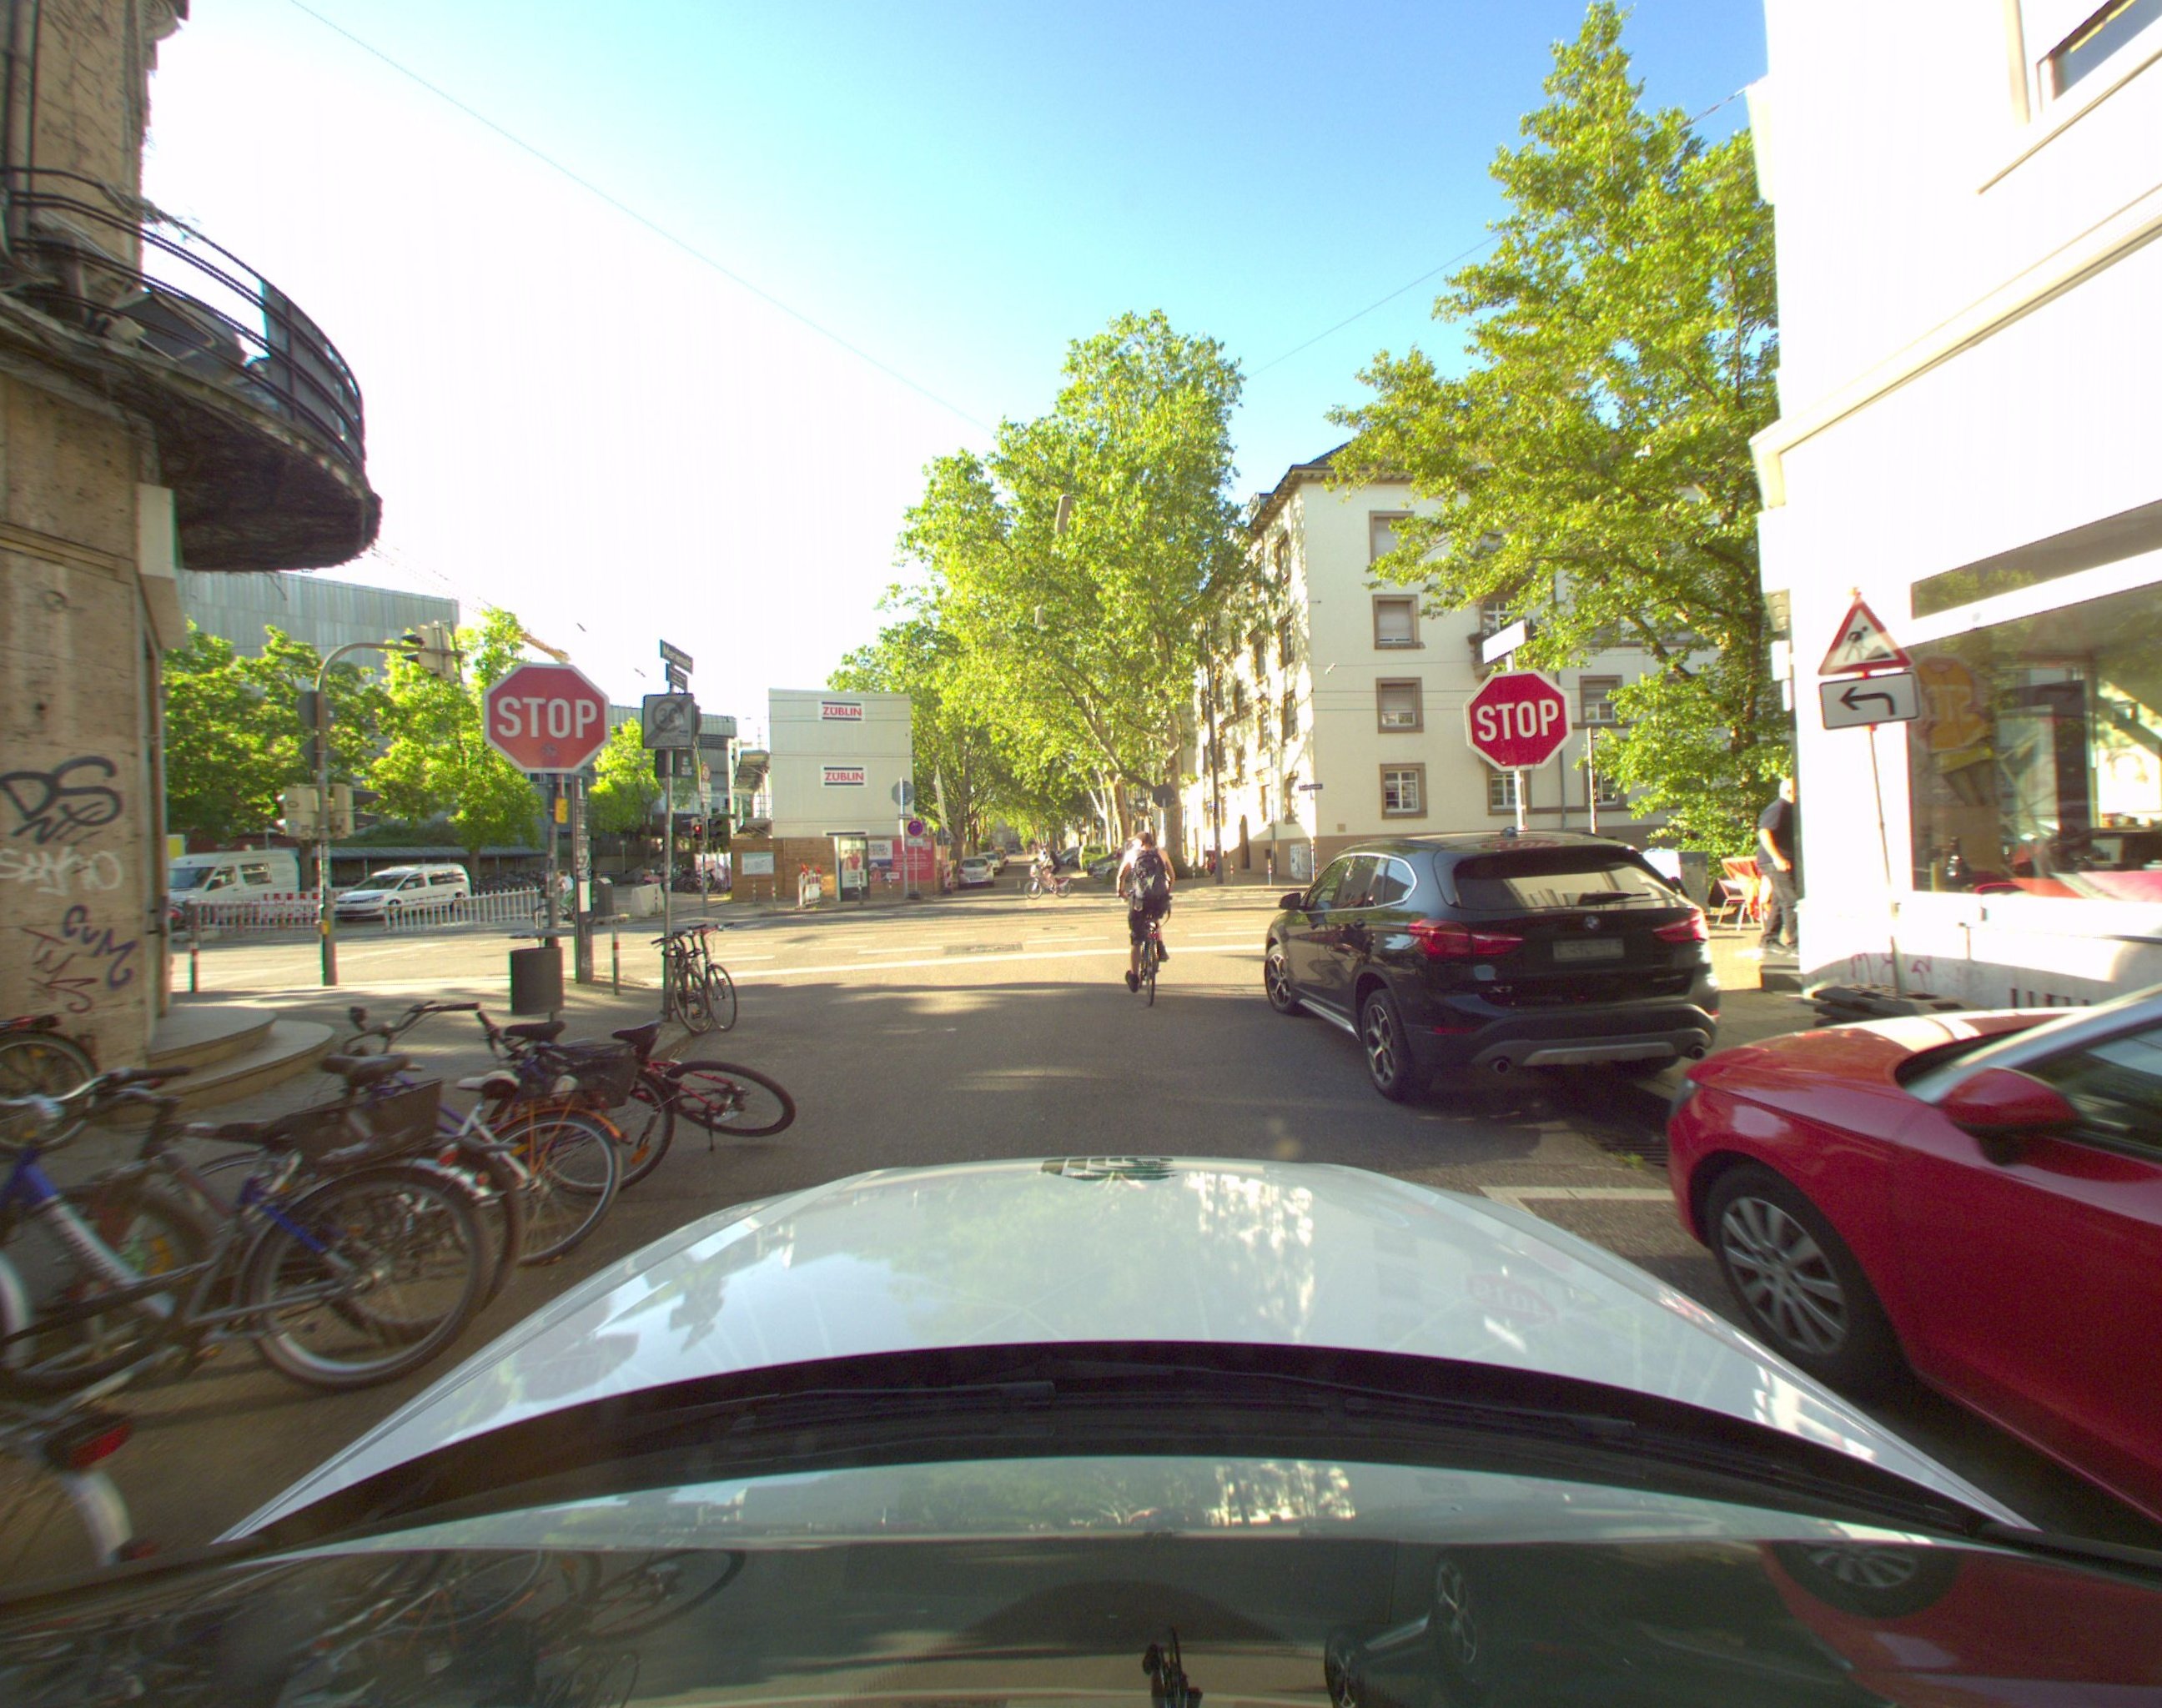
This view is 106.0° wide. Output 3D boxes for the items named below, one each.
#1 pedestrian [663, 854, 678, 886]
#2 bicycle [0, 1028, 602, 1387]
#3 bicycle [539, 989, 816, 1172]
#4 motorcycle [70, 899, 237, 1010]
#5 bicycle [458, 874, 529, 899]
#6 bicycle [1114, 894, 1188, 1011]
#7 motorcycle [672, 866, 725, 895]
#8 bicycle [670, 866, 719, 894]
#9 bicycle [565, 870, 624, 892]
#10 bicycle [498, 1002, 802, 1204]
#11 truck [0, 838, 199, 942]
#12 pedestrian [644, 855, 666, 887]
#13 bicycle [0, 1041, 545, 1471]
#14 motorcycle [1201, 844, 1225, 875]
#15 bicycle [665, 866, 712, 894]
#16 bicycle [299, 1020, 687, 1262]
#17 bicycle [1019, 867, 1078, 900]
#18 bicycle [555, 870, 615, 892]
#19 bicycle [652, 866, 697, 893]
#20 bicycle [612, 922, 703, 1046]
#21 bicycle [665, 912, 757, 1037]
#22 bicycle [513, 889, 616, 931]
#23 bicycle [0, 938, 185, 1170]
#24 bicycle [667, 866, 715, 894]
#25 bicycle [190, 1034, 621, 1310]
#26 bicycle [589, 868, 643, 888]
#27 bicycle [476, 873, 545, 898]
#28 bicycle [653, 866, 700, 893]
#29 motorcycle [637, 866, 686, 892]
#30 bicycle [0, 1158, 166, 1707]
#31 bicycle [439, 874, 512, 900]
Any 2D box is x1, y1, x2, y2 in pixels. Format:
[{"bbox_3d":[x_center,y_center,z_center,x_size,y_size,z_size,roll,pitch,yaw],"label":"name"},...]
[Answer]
[{"bbox_3d":[-27.002,1.054,53.580,0.805,2.013,1.021,-2,1,-29],"label":"pedestrian"},{"bbox_3d":[-2.772,1.206,2.918,1.762,0.961,0.427,-2,0,-6],"label":"bicycle"},{"bbox_3d":[-2.215,1.240,4.570,1.308,0.818,0.370,-2,0,-8],"label":"bicycle"},{"bbox_3d":[-13.165,1.370,11.674,1.005,1.351,2.394,-3,-2,-35],"label":"motorcycle"},{"bbox_3d":[-30.085,1.653,41.704,3.065,1.147,0.822,-2,1,3],"label":"bicycle"},{"bbox_3d":[0.709,0.987,8.730,0.687,1.016,1.908,-1,0,2],"label":"bicycle"},{"bbox_3d":[-18.433,1.262,39.309,2.224,1.257,0.536,-3,1,-43],"label":"motorcycle"},{"bbox_3d":[-19.061,1.258,40.198,2.061,1.257,0.465,-3,1,-43],"label":"bicycle"},{"bbox_3d":[-29.496,1.633,49.381,3.065,1.147,0.822,-2,1,3],"label":"bicycle"},{"bbox_3d":[-2.170,1.251,4.200,1.308,0.818,0.354,-2,0,-8],"label":"bicycle"},{"bbox_3d":[-37.135,1.163,29.710,2.378,3.347,7.110,-2,2,-5],"label":"truck"},{"bbox_3d":[-27.416,1.102,52.378,0.796,2.013,0.940,-2,1,5],"label":"pedestrian"},{"bbox_3d":[-2.745,1.179,2.484,1.765,0.961,0.479,-2,0,-11],"label":"bicycle"},{"bbox_3d":[5.794,0.226,35.739,0.513,1.332,1.759,-2,0,-7],"label":"motorcycle"},{"bbox_3d":[-19.711,1.278,40.919,2.061,1.257,0.465,-3,1,-43],"label":"bicycle"},{"bbox_3d":[-2.650,1.286,3.761,1.386,0.818,0.361,-4,0,-8],"label":"bicycle"},{"bbox_3d":[-1.125,1.009,28.282,1.924,1.018,0.677,-3,0,-23],"label":"bicycle"},{"bbox_3d":[-29.508,1.626,48.444,3.065,1.147,0.822,-2,1,3],"label":"bicycle"},{"bbox_3d":[-21.501,1.338,43.100,2.061,1.257,0.536,-3,1,-43],"label":"bicycle"},{"bbox_3d":[-4.367,1.273,8.348,0.453,1.045,1.645,-5,1,-39],"label":"bicycle"},{"bbox_3d":[-3.946,1.216,8.622,0.460,1.045,1.668,-2,2,-39],"label":"bicycle"},{"bbox_3d":[-15.343,1.642,24.230,2.418,1.093,0.894,-2,-1,-5],"label":"bicycle"},{"bbox_3d":[-5.690,1.061,4.162,0.396,1.092,1.592,-2,-1,2],"label":"bicycle"},{"bbox_3d":[-19.393,1.269,40.536,2.061,1.257,0.465,-3,1,-43],"label":"bicycle"},{"bbox_3d":[-2.715,1.266,3.365,1.308,0.818,0.380,-4,0,-8],"label":"bicycle"},{"bbox_3d":[-30.196,1.574,52.882,3.065,1.147,0.822,-2,1,3],"label":"bicycle"},{"bbox_3d":[-29.950,1.658,42.776,3.065,1.147,0.822,-2,1,3],"label":"bicycle"},{"bbox_3d":[-21.153,1.326,42.623,2.061,1.257,0.536,-3,1,-43],"label":"bicycle"},{"bbox_3d":[-22.503,1.349,43.717,2.224,1.257,0.536,-3,1,-43],"label":"motorcycle"},{"bbox_3d":[-2.781,1.142,1.461,1.759,0.961,0.422,-2,0,0],"label":"bicycle"},{"bbox_3d":[-30.144,1.646,40.553,3.065,1.147,0.822,-2,1,3],"label":"bicycle"}]
